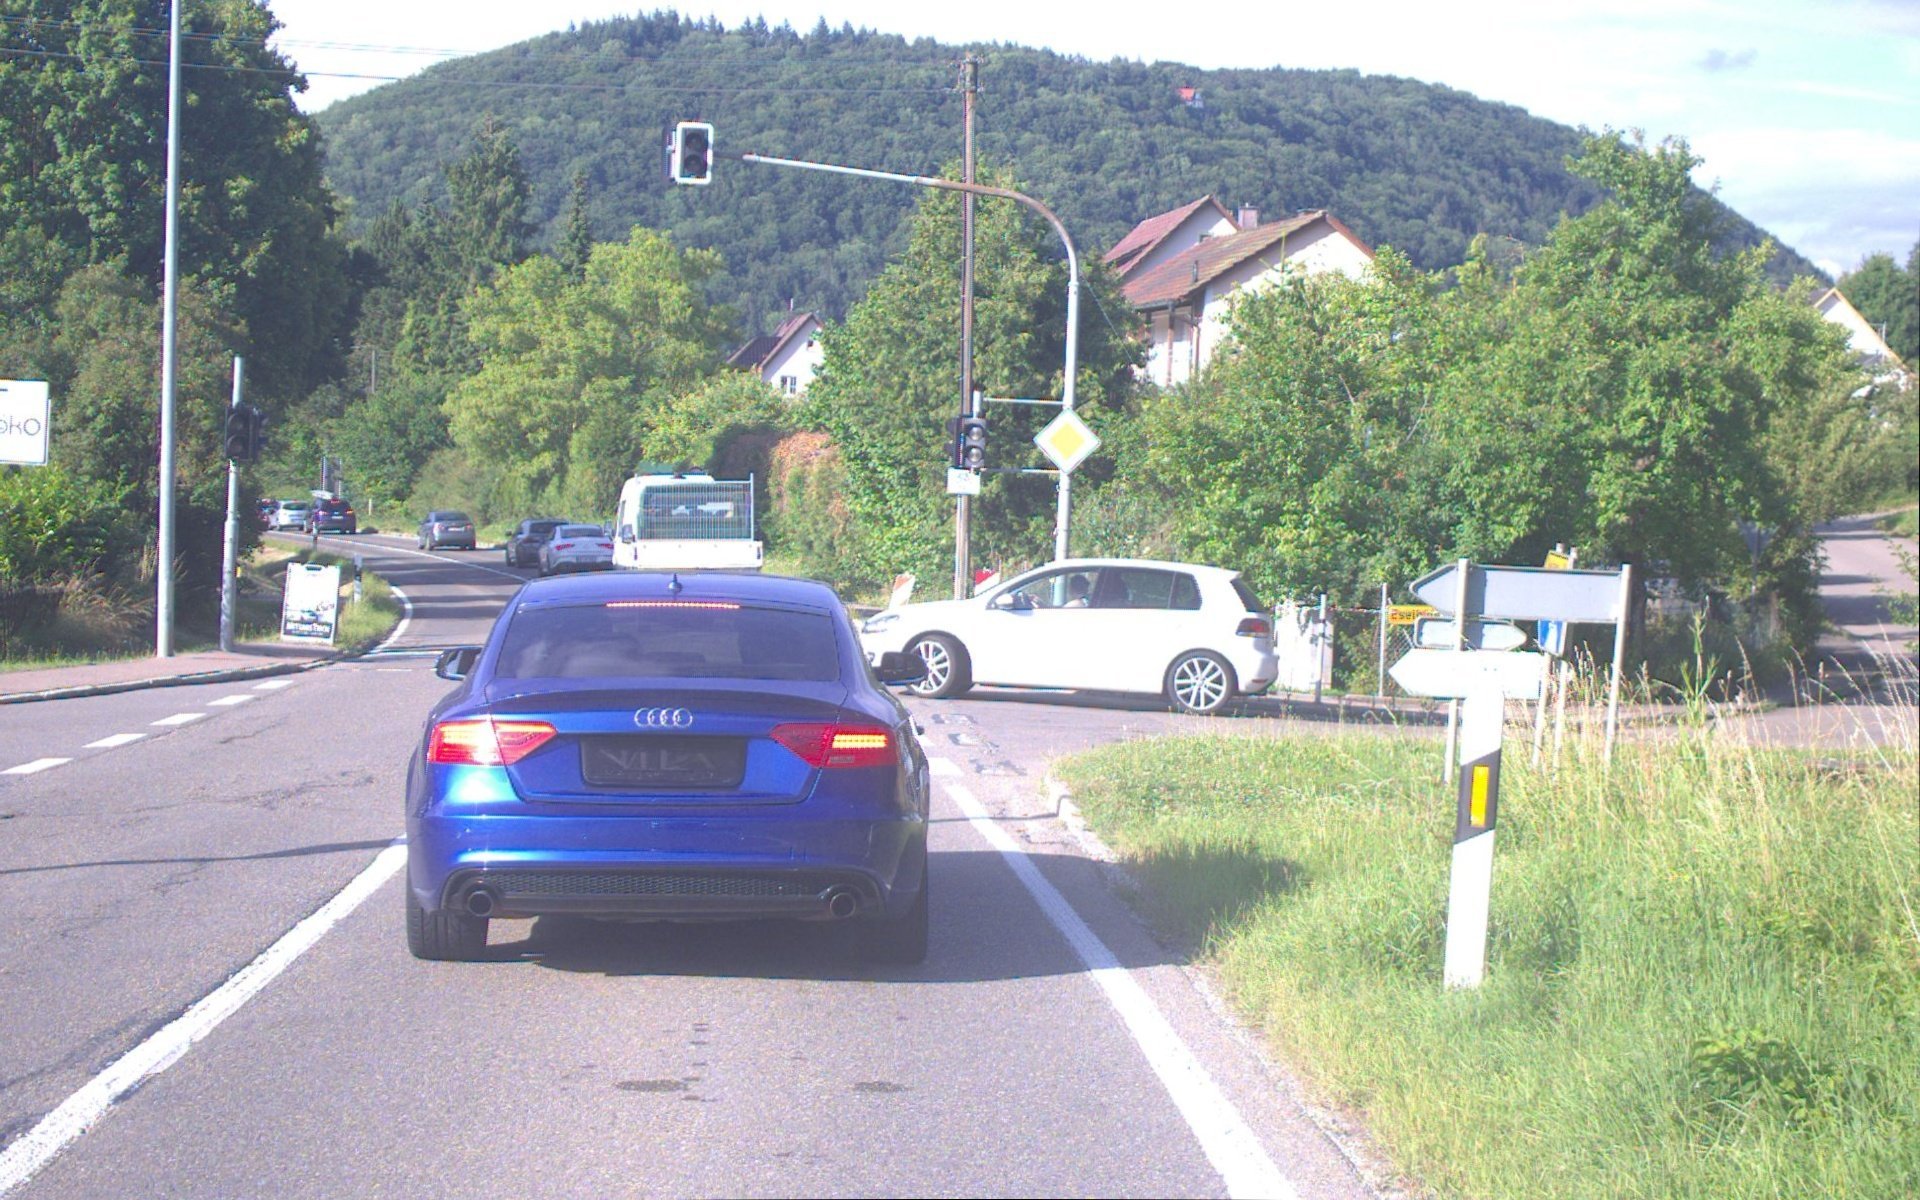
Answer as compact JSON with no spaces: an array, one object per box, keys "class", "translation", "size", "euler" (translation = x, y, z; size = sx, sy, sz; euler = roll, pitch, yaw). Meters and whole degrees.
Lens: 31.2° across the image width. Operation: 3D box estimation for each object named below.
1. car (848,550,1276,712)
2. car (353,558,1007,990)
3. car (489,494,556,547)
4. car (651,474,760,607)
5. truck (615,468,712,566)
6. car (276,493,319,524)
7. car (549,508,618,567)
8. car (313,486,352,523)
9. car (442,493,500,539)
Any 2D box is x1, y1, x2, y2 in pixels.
[{"class":"car","translation":[1.048,0.287,33.953],"size":[4.045,1.503,1.854],"euler":[1,0,7]},{"class":"car","translation":[-0.884,0.551,13.078],"size":[1.796,1.383,3.999],"euler":[0,0,6]},{"class":"car","translation":[-12.999,-2.343,102.100],"size":[1.697,1.485,3.528],"euler":[1,0,-12]},{"class":"car","translation":[-4.338,-1.003,59.047],"size":[1.746,2.188,4.000],"euler":[1,0,-3]},{"class":"truck","translation":[-6.269,-1.696,72.139],"size":[1.697,1.947,5.924],"euler":[1,0,-8]},{"class":"car","translation":[-31.908,-4.403,165.599],"size":[1.688,1.433,3.671],"euler":[1,0,-6]},{"class":"car","translation":[-9.930,-1.638,90.555],"size":[1.697,1.485,3.528],"euler":[1,0,-8]},{"class":"car","translation":[-28.439,-4.314,155.830],"size":[1.625,1.571,3.680],"euler":[1,0,-9]},{"class":"car","translation":[-17.794,-3.053,125.308],"size":[1.822,1.568,4.001],"euler":[1,0,-4]}]
